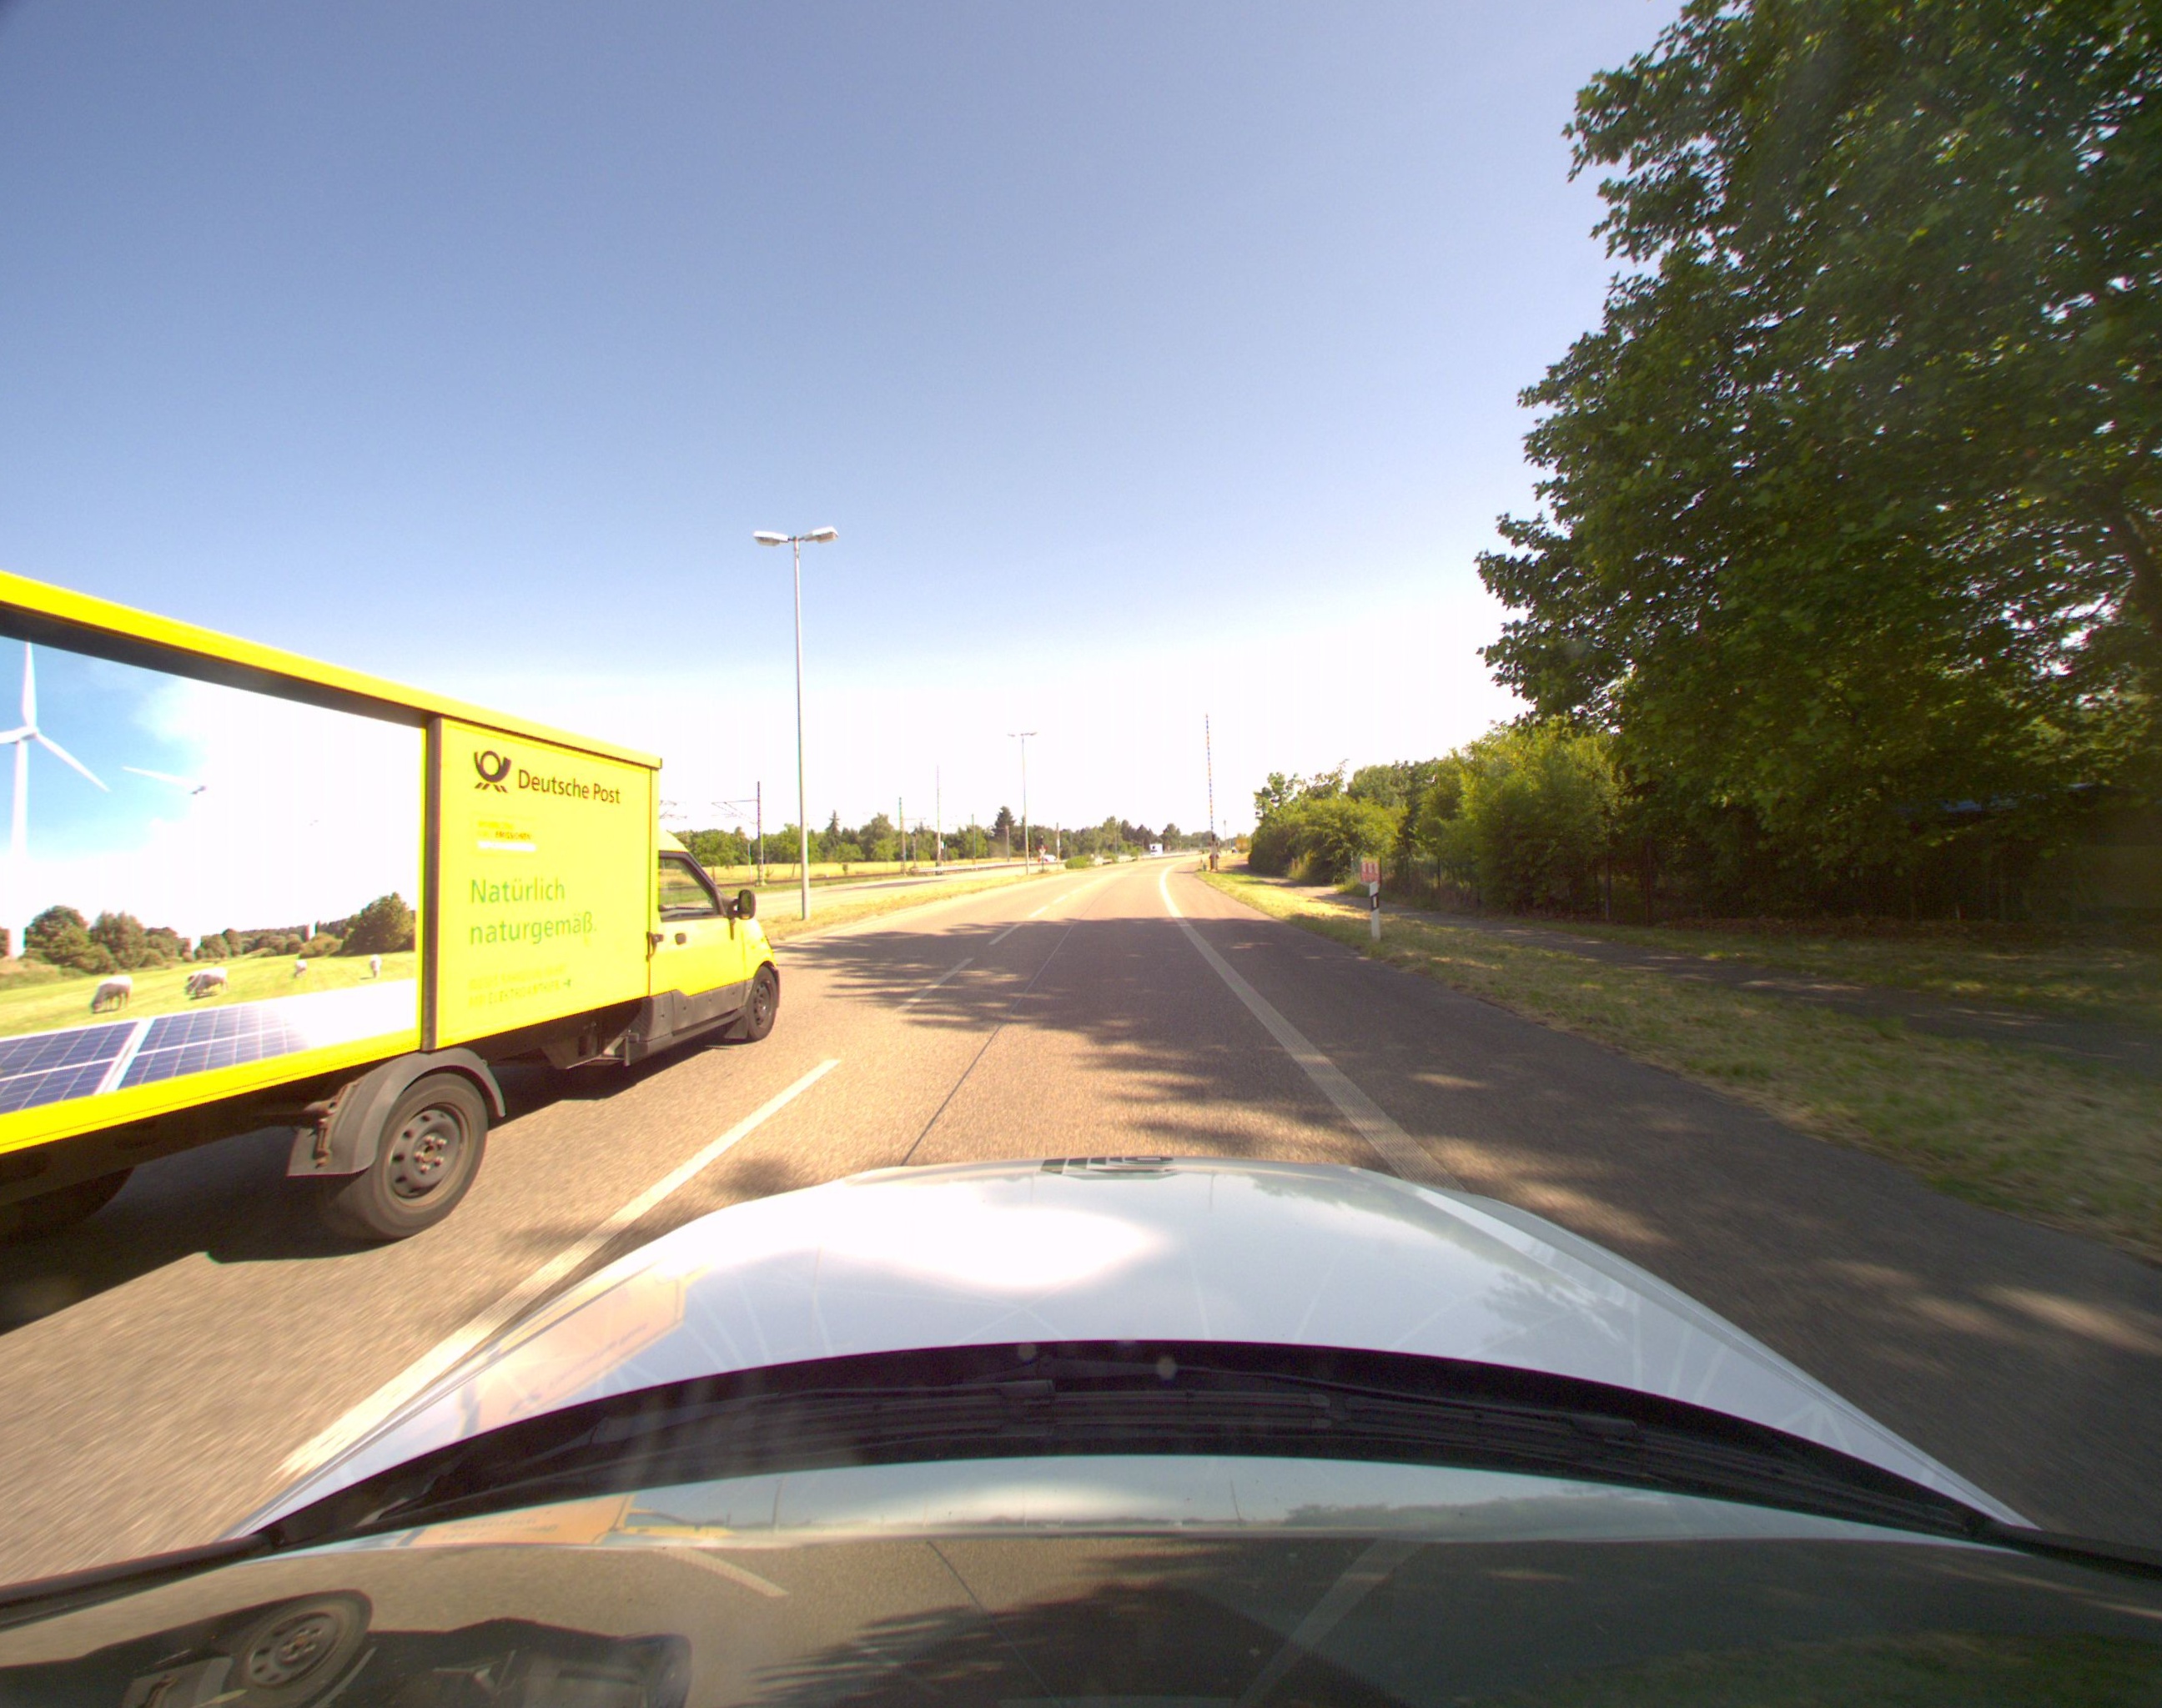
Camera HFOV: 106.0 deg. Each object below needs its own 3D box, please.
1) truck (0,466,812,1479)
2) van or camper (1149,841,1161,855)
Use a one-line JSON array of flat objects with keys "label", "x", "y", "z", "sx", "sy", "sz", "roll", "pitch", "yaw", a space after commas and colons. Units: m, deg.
[{"label": "truck", "x": -3.633, "y": 0.292, "z": 4.631, "sx": 2.104, "sy": 2.457, "sz": 5.918, "roll": -1, "pitch": 0, "yaw": 1}, {"label": "van or camper", "x": 20.463, "y": -1.748, "z": 225.181, "sx": 2.865, "sy": 3.680, "sz": 8.647, "roll": -2, "pitch": 0, "yaw": 2}]
